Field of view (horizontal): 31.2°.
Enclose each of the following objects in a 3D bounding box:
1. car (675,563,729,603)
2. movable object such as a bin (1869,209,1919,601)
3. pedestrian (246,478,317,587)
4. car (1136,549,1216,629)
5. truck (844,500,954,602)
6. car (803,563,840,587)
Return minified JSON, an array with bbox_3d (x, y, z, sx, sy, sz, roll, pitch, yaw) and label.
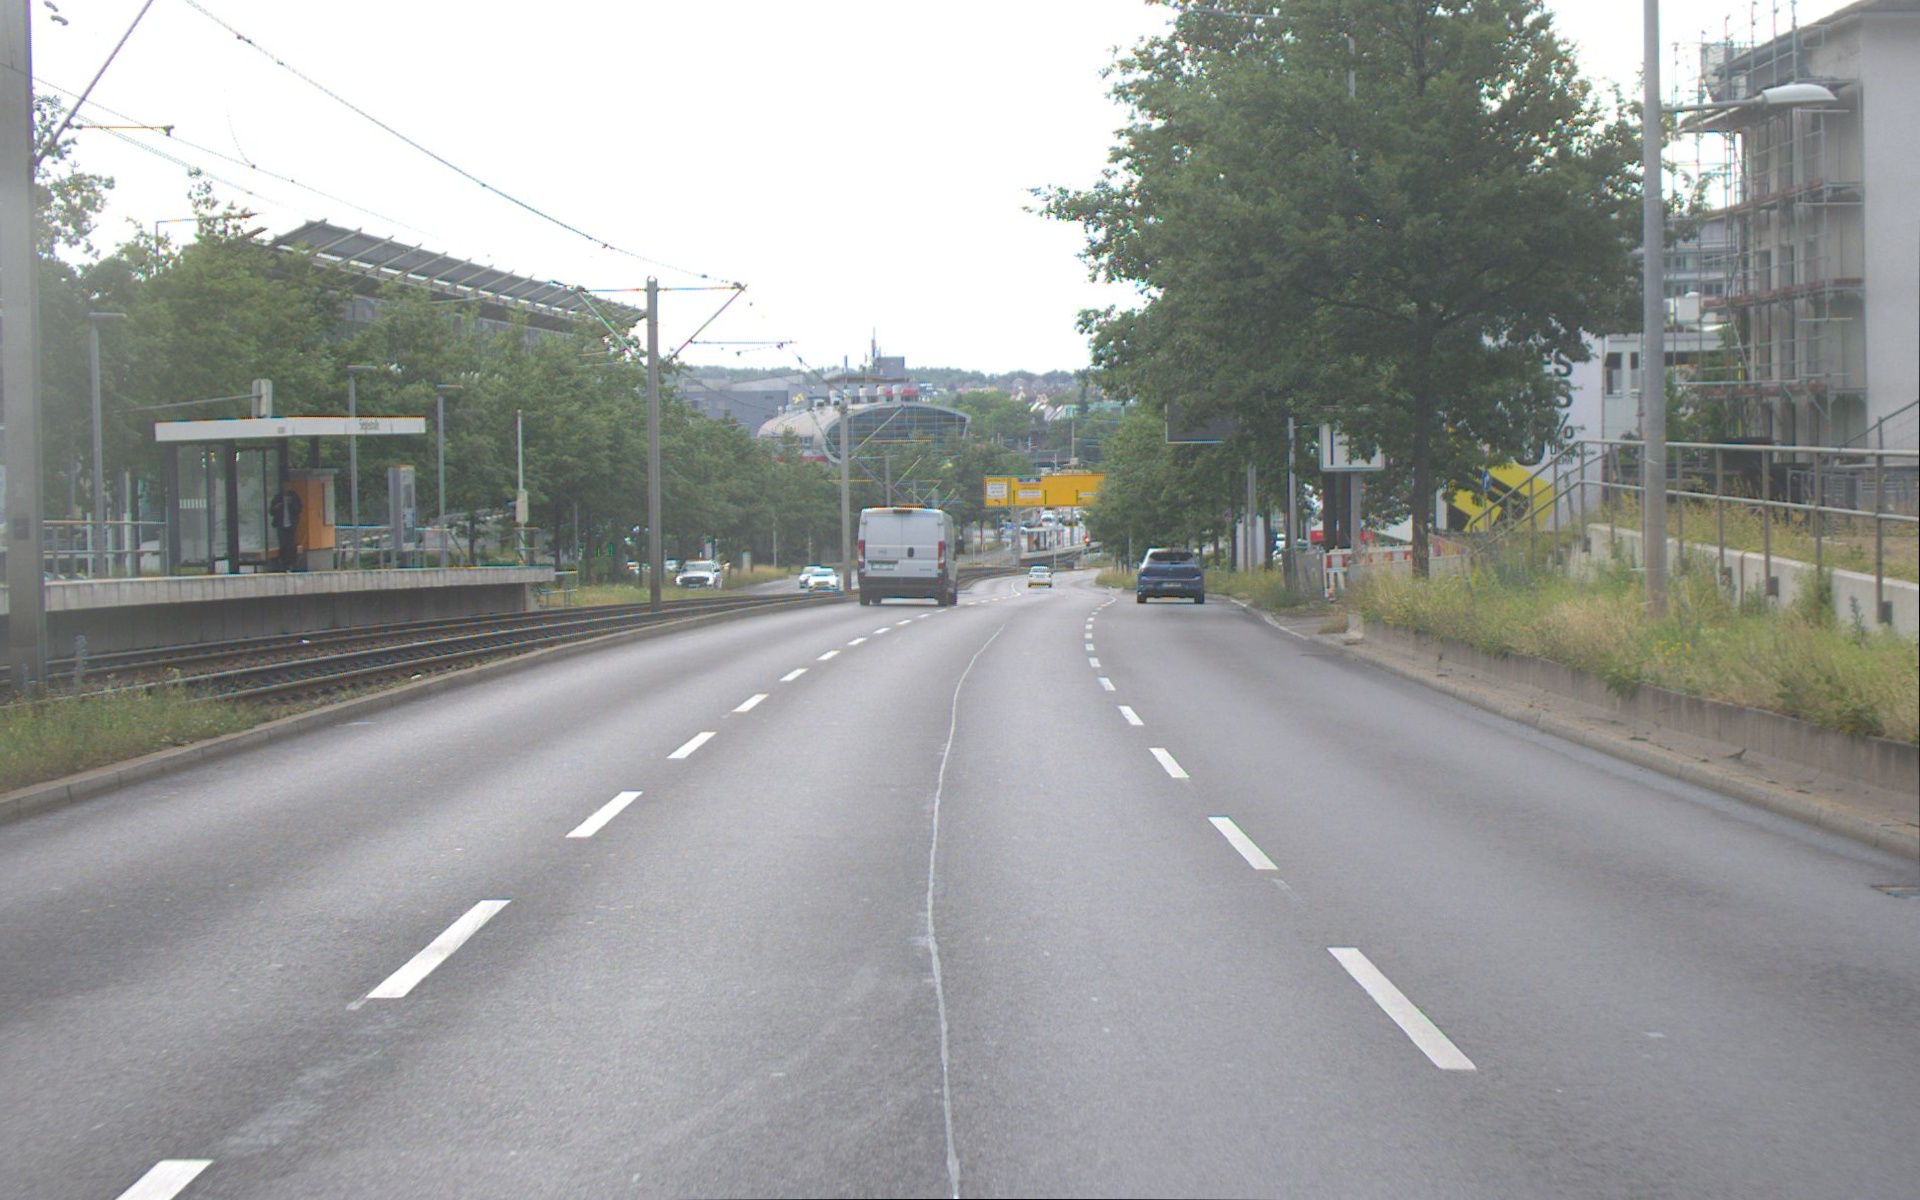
[{"bbox_3d":[-12.384,-0.821,165.229,1.994,1.840,5.001,-1,1,3],"label":"car"},{"bbox_3d":[15.407,-2.784,48.109,3.290,5.665,8.763,1,0,2],"label":"movable object such as a bin"},{"bbox_3d":[-12.792,-1.256,64.806,1.266,2.007,1.130,1,0,-11],"label":"pedestrian"},{"bbox_3d":[5.667,-0.289,90.470,1.994,2.007,3.934,1,0,3],"label":"car"},{"bbox_3d":[-1.386,-1.111,80.186,2.360,2.254,5.305,1,0,1],"label":"truck"},{"bbox_3d":[-8.564,-1.564,212.939,1.837,1.439,4.428,-2,1,3],"label":"car"}]
